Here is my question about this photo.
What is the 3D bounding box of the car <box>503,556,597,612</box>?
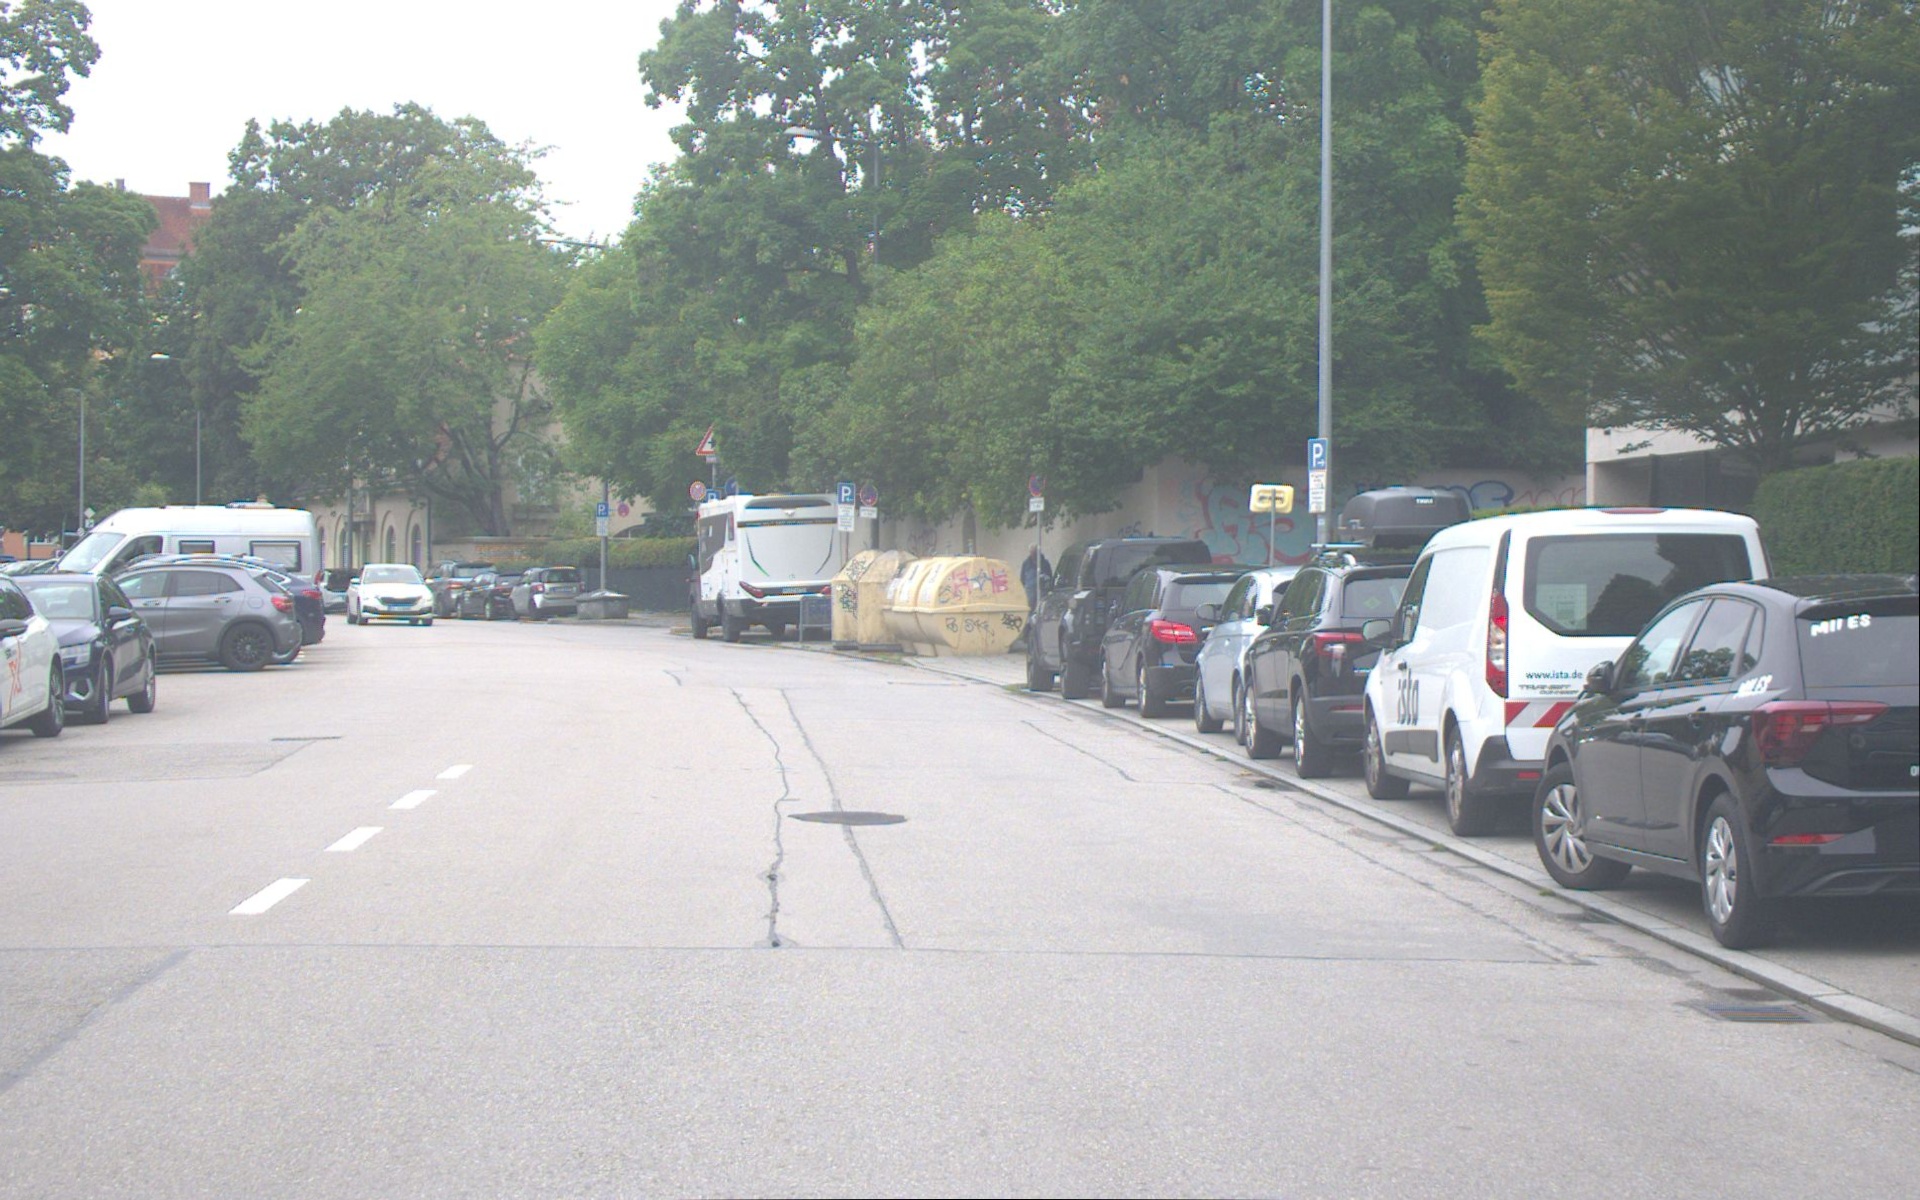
[{"bbox_3d":[-11.658,-0.457,97.734,1.738,1.531,2.946,-2,0,-26],"label":"car"}]

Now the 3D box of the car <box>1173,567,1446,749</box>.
[{"bbox_3d":[3.019,0.464,30.432,1.747,1.475,3.889,0,1,-4],"label":"car"}]

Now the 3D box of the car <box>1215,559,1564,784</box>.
[{"bbox_3d":[3.110,0.463,25.814,1.747,1.475,4.598,1,1,-4],"label":"car"}]

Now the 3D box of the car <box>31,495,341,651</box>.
[{"bbox_3d":[-13.158,-0.494,58.563,4.623,2.554,2.234,-1,1,-37],"label":"car"}]

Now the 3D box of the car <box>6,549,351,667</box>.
[{"bbox_3d":[-11.466,0.094,50.556,4.513,1.588,1.965,-2,1,-37],"label":"car"}]

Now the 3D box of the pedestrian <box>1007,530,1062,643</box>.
[{"bbox_3d":[1.324,-0.238,60.965,0.795,1.978,0.631,0,0,-17],"label":"pedestrian"}]

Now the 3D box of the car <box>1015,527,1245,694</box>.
[{"bbox_3d":[1.968,0.123,41.481,1.987,1.865,5.079,1,0,-6],"label":"car"}]

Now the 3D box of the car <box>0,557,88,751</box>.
[{"bbox_3d":[-8.641,0.445,28.506,1.845,1.530,4.522,-2,1,-3],"label":"car"}]

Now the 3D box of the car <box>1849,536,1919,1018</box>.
[{"bbox_3d":[3.986,0.572,9.463,1.726,1.524,4.205,-1,1,-4],"label":"car"}]

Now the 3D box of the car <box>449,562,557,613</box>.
[{"bbox_3d":[-13.497,-0.381,101.450,1.877,1.422,4.223,-2,1,-26],"label":"car"}]

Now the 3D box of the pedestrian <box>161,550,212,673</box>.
[{"bbox_3d":[-10.532,0.150,46.816,0.589,1.642,0.714,-3,1,-12],"label":"pedestrian"}]

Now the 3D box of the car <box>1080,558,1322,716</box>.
[{"bbox_3d":[2.456,0.338,36.132,1.747,1.534,4.570,0,1,-6],"label":"car"}]

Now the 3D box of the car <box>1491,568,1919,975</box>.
[{"bbox_3d":[3.613,0.610,14.794,1.747,1.459,4.243,0,1,-4],"label":"car"}]

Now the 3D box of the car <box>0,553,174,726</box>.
[{"bbox_3d":[-8.933,0.346,33.415,1.845,1.530,4.562,-2,1,-5],"label":"car"}]

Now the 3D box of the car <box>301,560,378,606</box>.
[{"bbox_3d":[-21.503,-0.595,119.033,1.707,1.532,4.241,-2,1,-23],"label":"car"}]

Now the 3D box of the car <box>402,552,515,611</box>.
[{"bbox_3d":[-15.450,-0.583,105.664,1.993,1.705,4.885,-2,1,-26],"label":"car"}]

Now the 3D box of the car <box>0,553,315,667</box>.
[{"bbox_3d":[-11.265,0.144,47.798,4.329,1.524,1.934,0,-1,-17],"label":"car"}]

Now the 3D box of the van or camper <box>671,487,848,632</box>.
[{"bbox_3d":[-4.305,-0.857,72.410,2.272,2.896,7.279,0,1,-15],"label":"van or camper"}]

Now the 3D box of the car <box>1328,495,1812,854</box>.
[{"bbox_3d":[3.495,0.357,20.672,1.822,1.854,4.898,2,1,-2],"label":"car"}]

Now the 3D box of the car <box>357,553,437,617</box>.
[{"bbox_3d":[-13.480,-0.374,82.472,1.772,1.470,4.135,0,1,-8],"label":"car"}]
